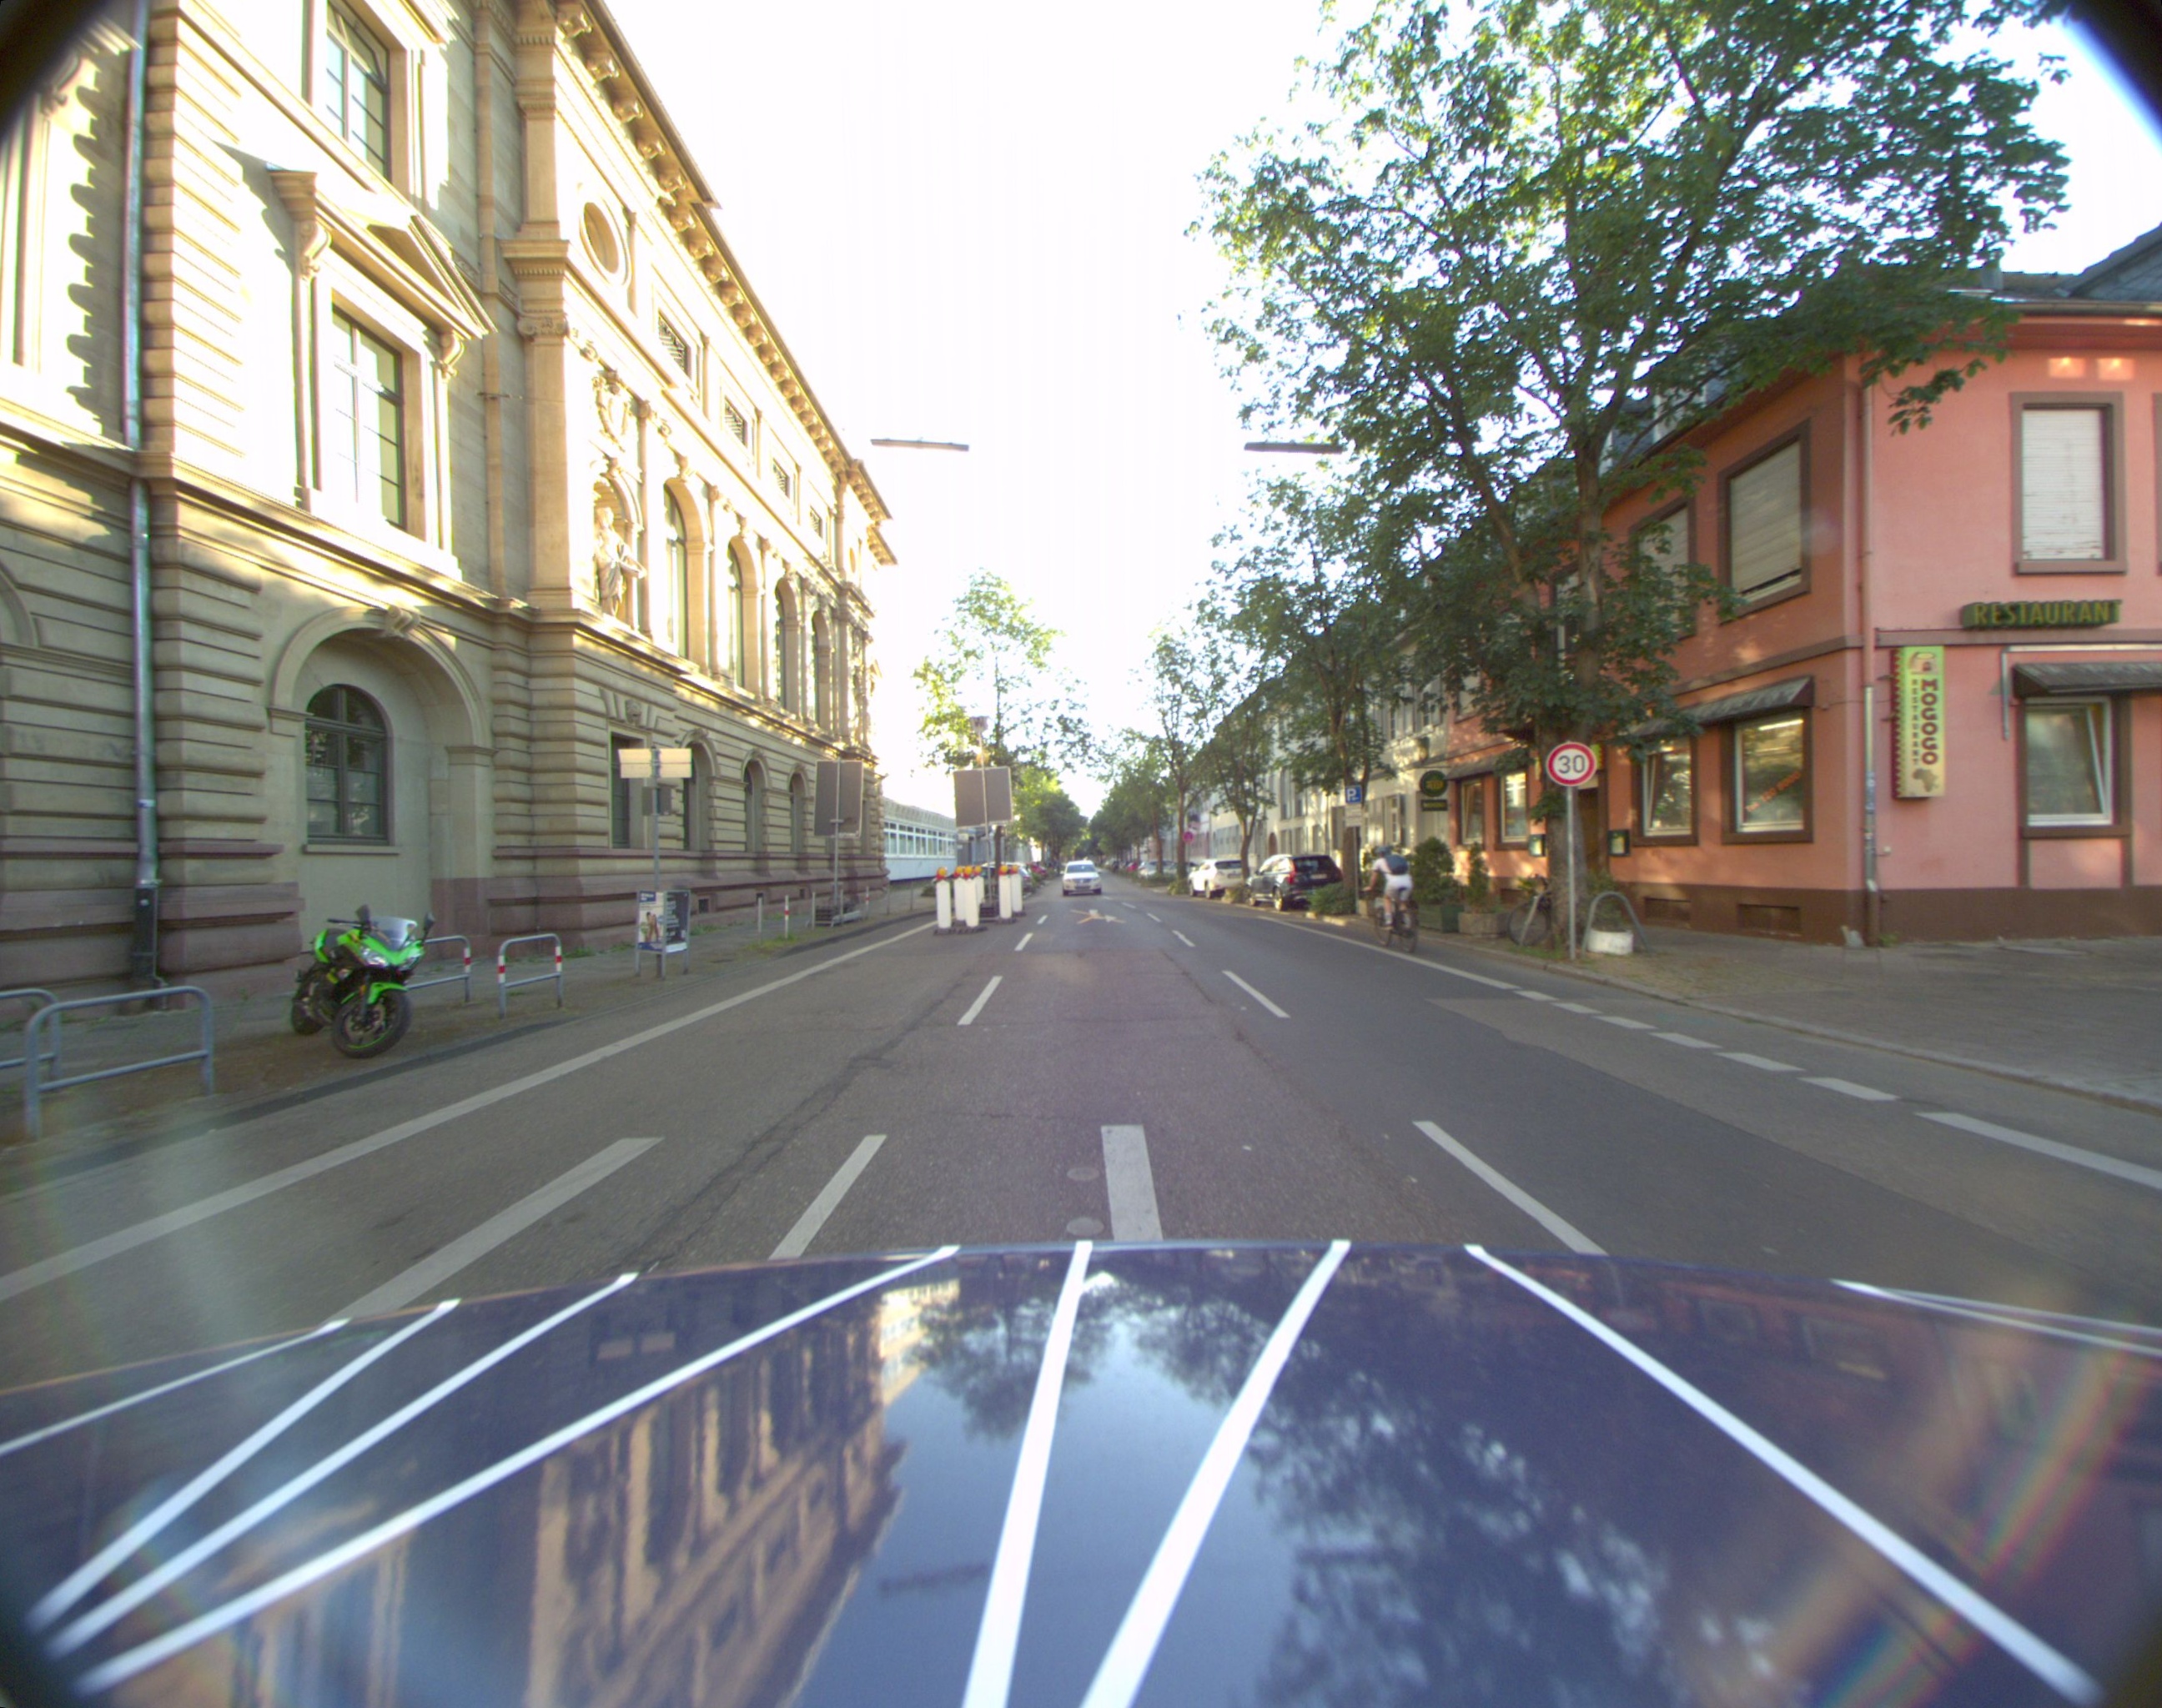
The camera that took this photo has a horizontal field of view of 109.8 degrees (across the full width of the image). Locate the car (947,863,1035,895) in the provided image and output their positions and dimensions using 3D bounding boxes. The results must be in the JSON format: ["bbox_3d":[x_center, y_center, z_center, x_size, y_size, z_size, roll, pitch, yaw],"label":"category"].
[{"bbox_3d":[-4.635,1.285,39.579,4.368,1.486,1.672,1,0,0],"label":"car"}]

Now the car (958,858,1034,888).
[{"bbox_3d":[-5.083,1.139,46.046,4.369,1.633,2.054,1,0,-2],"label":"car"}]

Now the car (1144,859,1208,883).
[{"bbox_3d":[6.490,1.128,52.187,4.228,1.536,1.801,-1,0,3],"label":"car"}]

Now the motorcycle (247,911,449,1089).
[{"bbox_3d":[-6.430,1.176,6.635,2.098,1.208,0.711,1,0,30],"label":"motorcycle"}]

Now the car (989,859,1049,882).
[{"bbox_3d":[-4.613,1.199,56.970,4.369,1.614,1.733,1,0,-2],"label":"car"}]

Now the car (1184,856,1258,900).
[{"bbox_3d":[6.046,0.994,33.445,1.833,1.658,4.654,-5,0,-6],"label":"car"}]

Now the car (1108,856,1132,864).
[{"bbox_3d":[6.997,1.083,137.745,4.230,1.508,1.969,-1,0,-2],"label":"car"}]

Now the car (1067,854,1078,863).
[{"bbox_3d":[-1.451,0.789,129.524,1.951,1.546,4.000,-1,0,-1],"label":"car"}]

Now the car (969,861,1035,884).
[{"bbox_3d":[-5.379,1.264,51.962,4.369,1.484,1.887,1,0,-2],"label":"car"}]

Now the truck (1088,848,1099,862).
[{"bbox_3d":[3.298,0.258,202.349,2.748,3.722,7.855,-1,0,2],"label":"truck"}]

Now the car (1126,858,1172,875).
[{"bbox_3d":[6.531,1.182,73.107,4.230,1.499,1.800,-1,0,-2],"label":"car"}]

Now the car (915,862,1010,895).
[{"bbox_3d":[-5.713,1.174,36.954,4.369,1.455,1.833,1,0,-4],"label":"car"}]

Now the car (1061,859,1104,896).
[{"bbox_3d":[0.102,1.124,37.771,1.957,1.667,4.543,-1,0,1],"label":"car"}]

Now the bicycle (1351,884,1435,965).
[{"bbox_3d":[5.340,1.168,13.142,0.626,1.149,2.052,-1,1,1],"label":"bicycle"}]

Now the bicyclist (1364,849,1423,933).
[{"bbox_3d":[5.329,0.605,12.992,0.626,1.357,0.929,-1,2,1],"label":"bicyclist"}]

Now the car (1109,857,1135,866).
[{"bbox_3d":[6.885,1.260,129.262,4.230,1.468,1.969,-1,0,-2],"label":"car"}]

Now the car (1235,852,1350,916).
[{"bbox_3d":[6.782,0.906,25.012,1.833,1.749,5.046,-5,0,-6],"label":"car"}]

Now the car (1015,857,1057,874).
[{"bbox_3d":[-4.700,1.203,79.894,4.369,1.768,1.733,1,0,-2],"label":"car"}]

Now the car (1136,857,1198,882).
[{"bbox_3d":[6.185,1.083,54.923,4.230,1.680,1.800,-1,0,-2],"label":"car"}]

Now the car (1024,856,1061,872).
[{"bbox_3d":[-4.611,1.182,91.533,4.369,1.862,1.733,0,0,-2],"label":"car"}]

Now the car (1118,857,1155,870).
[{"bbox_3d":[6.726,1.143,91.983,4.230,1.509,1.759,-1,0,-2],"label":"car"}]

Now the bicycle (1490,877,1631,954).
[{"bbox_3d":[7.479,0.945,11.883,1.872,1.098,0.610,-1,0,-6],"label":"bicycle"}]

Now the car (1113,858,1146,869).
[{"bbox_3d":[6.583,1.260,102.708,4.230,1.468,1.853,-1,0,-2],"label":"car"}]

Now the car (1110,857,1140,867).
[{"bbox_3d":[6.649,1.213,115.265,4.230,1.468,1.969,-1,0,-2],"label":"car"}]
